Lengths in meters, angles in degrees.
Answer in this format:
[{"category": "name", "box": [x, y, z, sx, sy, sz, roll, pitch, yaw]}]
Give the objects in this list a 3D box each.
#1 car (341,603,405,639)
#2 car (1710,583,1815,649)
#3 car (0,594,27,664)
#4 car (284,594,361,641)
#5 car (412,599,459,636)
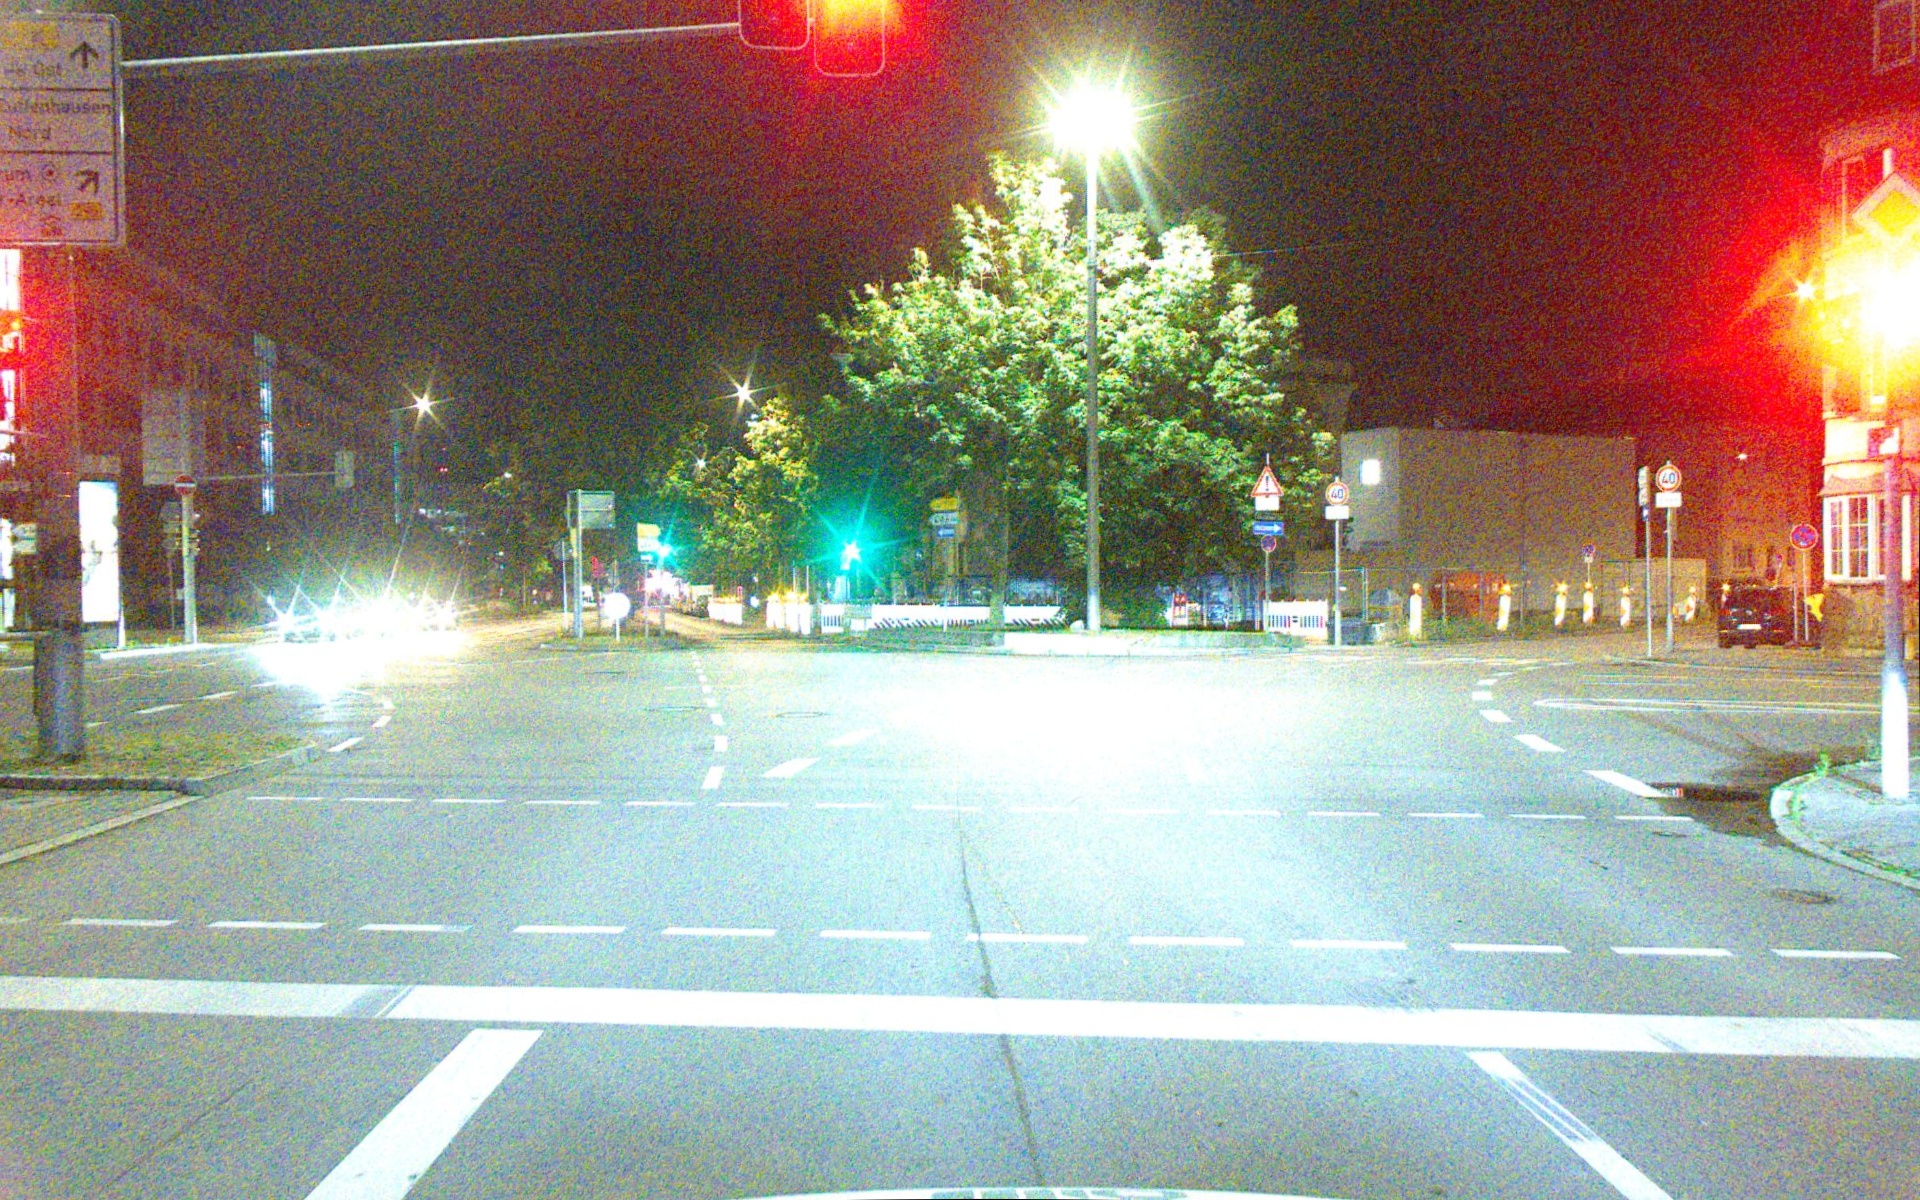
[{"category": "car", "box": [-22.414, 0.803, 63.252, 1.725, 1.345, 3.539, 0, 0, -9]}, {"category": "car", "box": [20.843, 0.418, 42.912, 1.700, 1.640, 3.606, -1, -1, 38]}, {"category": "car", "box": [-22.577, 0.643, 36.069, 3.903, 1.518, 1.710, -1, -1, 18]}, {"category": "car", "box": [-21.432, 0.588, 55.744, 1.586, 1.541, 3.991, 0, 0, -9]}, {"category": "car", "box": [-25.683, 0.834, 81.086, 1.725, 1.758, 3.539, 0, -1, -9]}]
